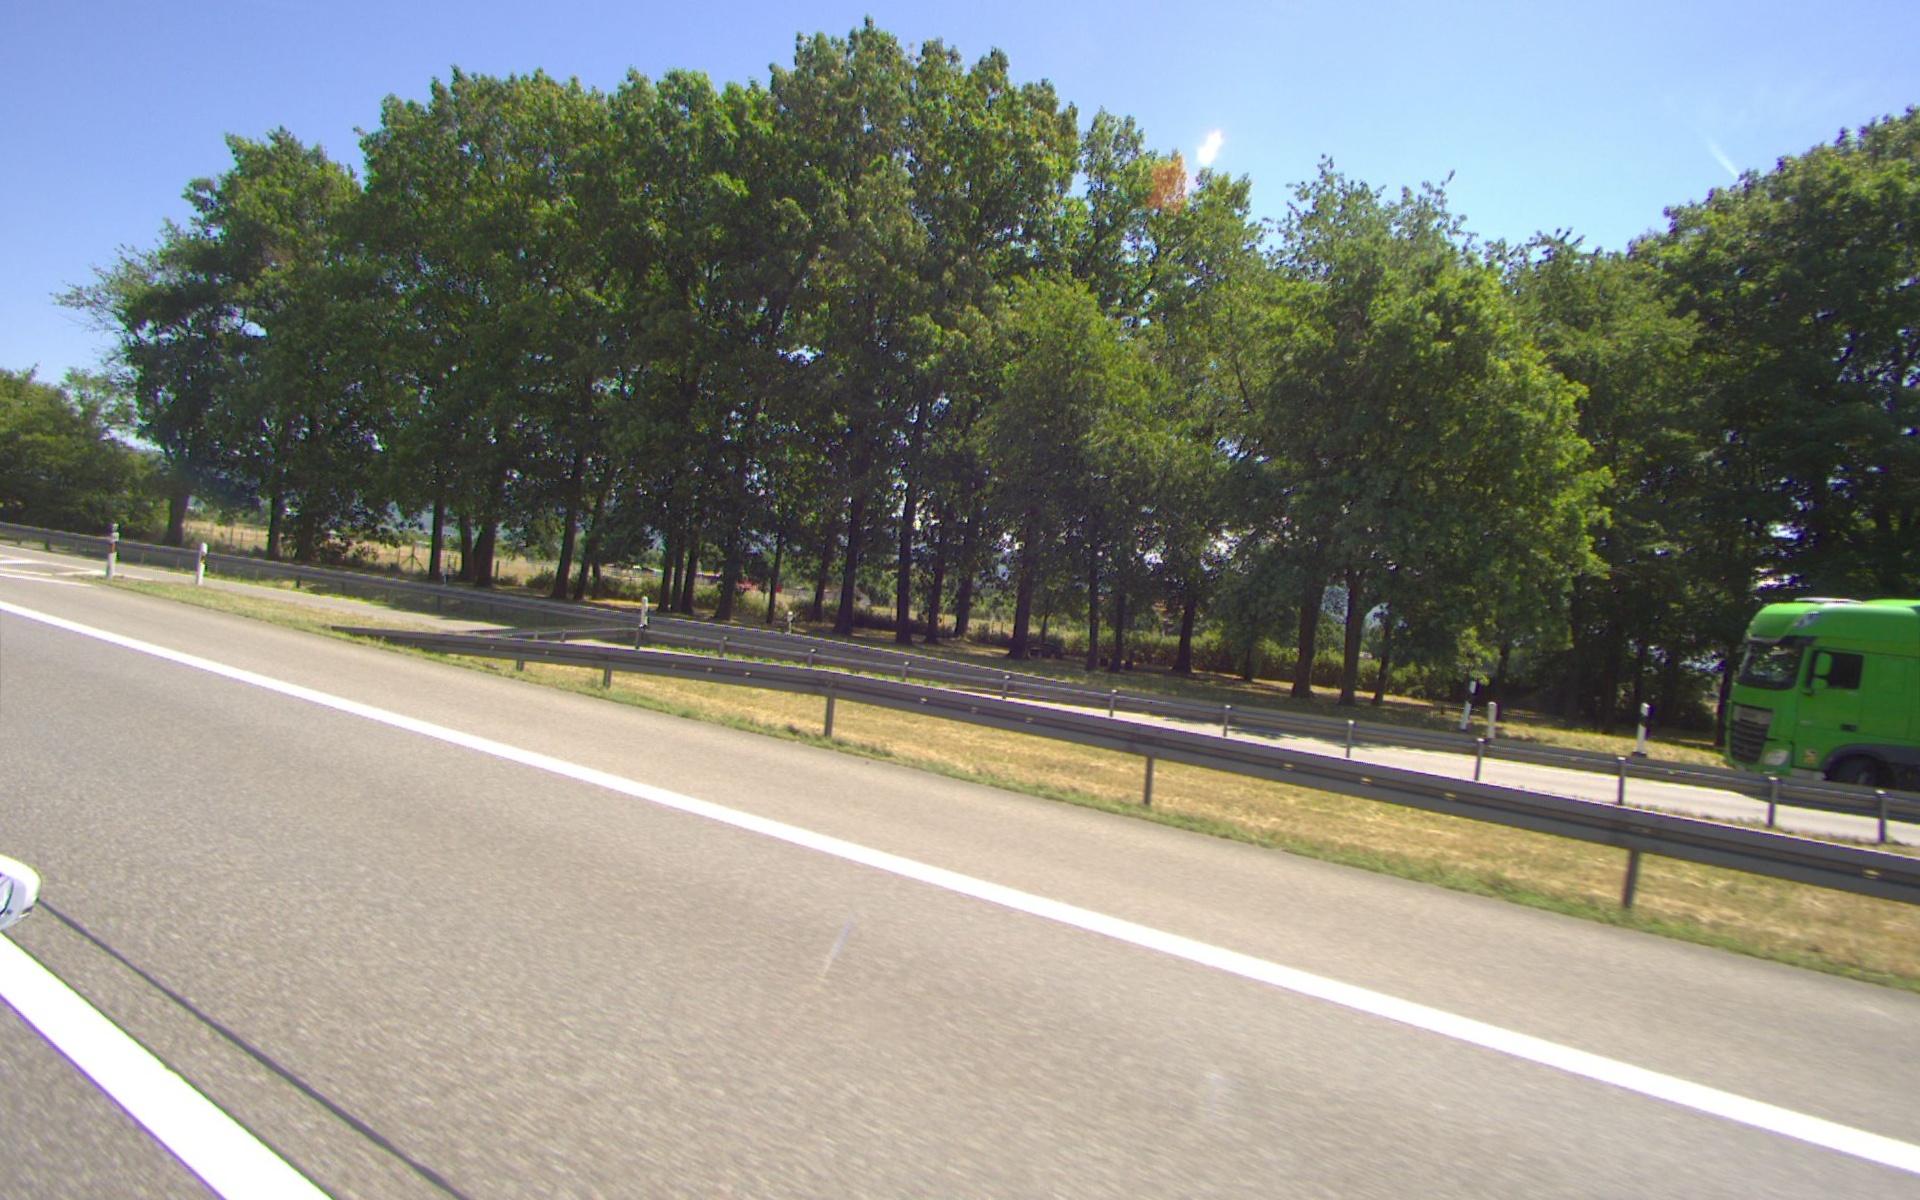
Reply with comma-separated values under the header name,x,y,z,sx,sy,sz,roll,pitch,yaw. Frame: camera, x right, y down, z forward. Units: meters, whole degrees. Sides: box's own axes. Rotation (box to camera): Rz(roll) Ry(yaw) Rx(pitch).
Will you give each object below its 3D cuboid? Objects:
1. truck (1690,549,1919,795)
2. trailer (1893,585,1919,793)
name,x,y,z,sx,sy,sz,roll,pitch,yaw
truck,19.040,1.654,19.782,6.492,4.307,3.397,7,-1,19
trailer,25.499,2.420,17.589,12.899,4.307,3.397,7,-1,19
